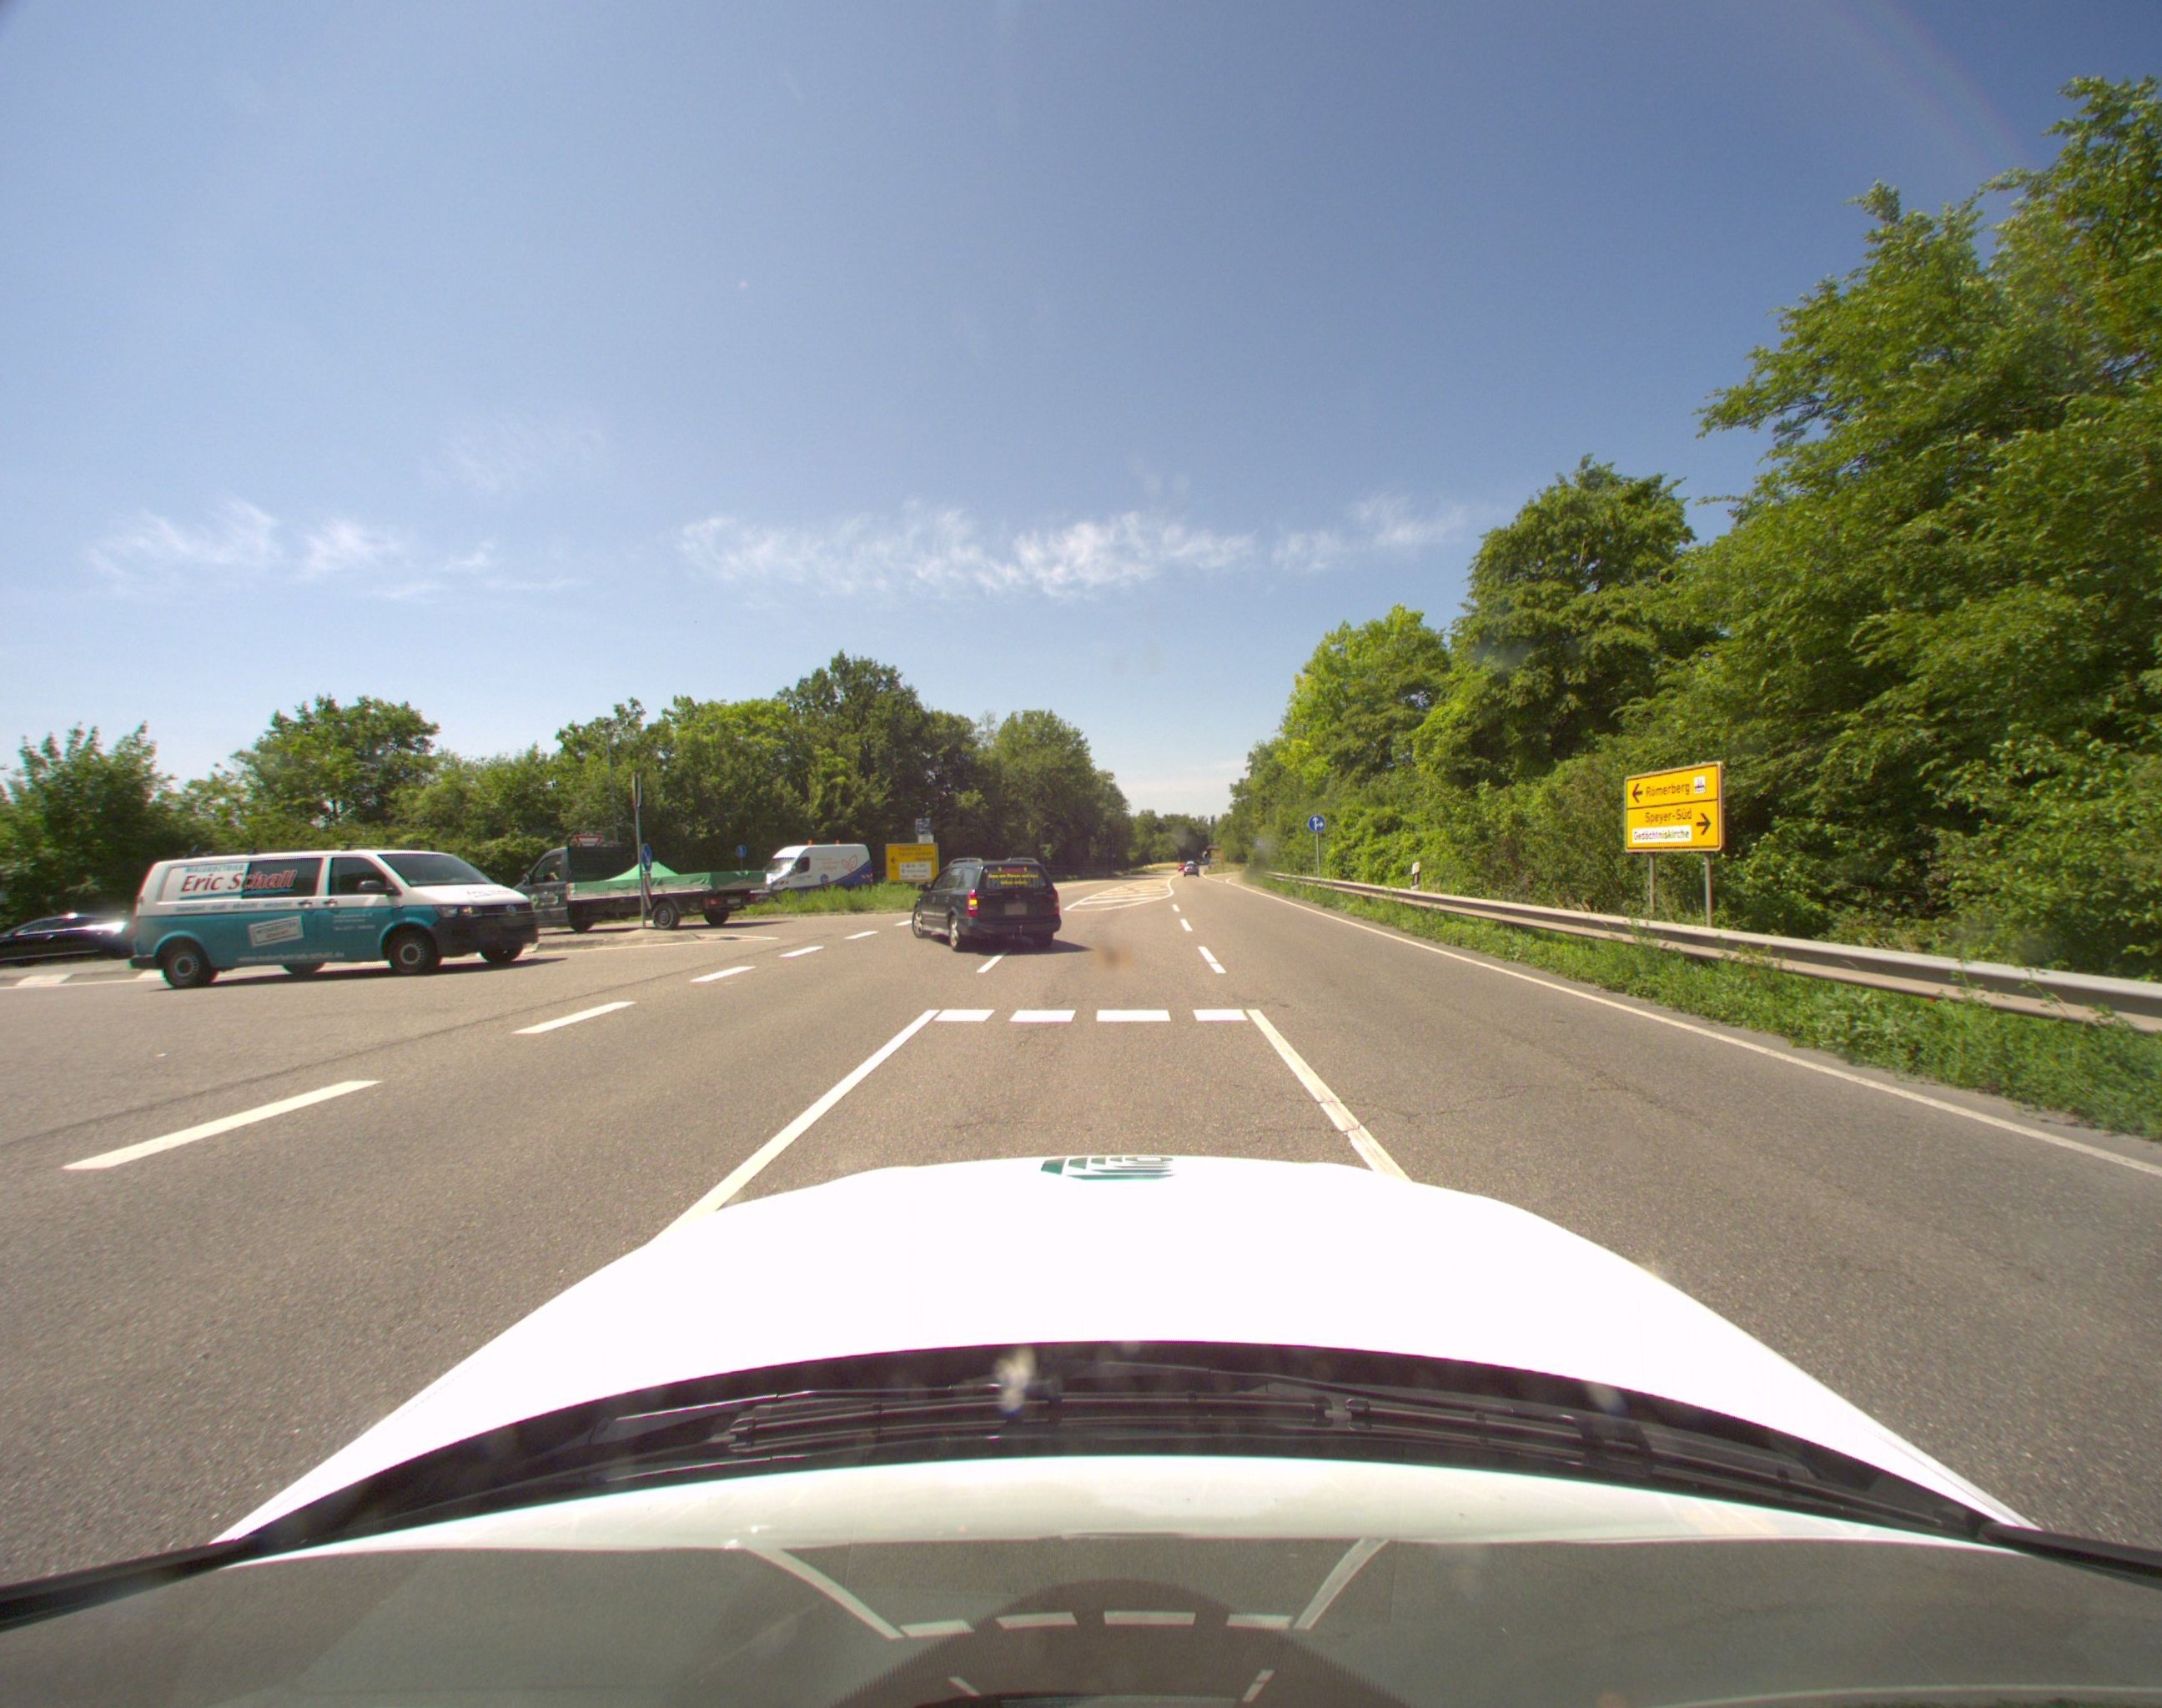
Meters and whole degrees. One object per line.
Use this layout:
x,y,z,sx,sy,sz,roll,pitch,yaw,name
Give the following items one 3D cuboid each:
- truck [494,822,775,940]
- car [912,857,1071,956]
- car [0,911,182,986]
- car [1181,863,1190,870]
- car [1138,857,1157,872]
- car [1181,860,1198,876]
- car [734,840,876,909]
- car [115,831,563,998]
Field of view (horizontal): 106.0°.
-11.558,0.718,21.163,6.569,2.565,2.154,-4,-1,14,truck
-1.717,0.797,14.345,1.728,1.457,3.767,-1,0,-24,car
-28.201,2.636,22.551,4.005,1.662,1.664,-5,-1,-23,car
21.100,2.532,164.478,1.799,1.458,3.767,-1,-1,9,car
14.884,2.359,183.024,2.003,3.226,4.768,-1,0,-25,car
12.667,1.602,94.990,1.833,1.684,4.008,-1,0,7,car
-12.190,0.860,36.476,2.085,2.850,6.050,-1,-1,32,car
-11.400,0.885,12.790,5.150,2.027,2.001,-5,0,2,car
